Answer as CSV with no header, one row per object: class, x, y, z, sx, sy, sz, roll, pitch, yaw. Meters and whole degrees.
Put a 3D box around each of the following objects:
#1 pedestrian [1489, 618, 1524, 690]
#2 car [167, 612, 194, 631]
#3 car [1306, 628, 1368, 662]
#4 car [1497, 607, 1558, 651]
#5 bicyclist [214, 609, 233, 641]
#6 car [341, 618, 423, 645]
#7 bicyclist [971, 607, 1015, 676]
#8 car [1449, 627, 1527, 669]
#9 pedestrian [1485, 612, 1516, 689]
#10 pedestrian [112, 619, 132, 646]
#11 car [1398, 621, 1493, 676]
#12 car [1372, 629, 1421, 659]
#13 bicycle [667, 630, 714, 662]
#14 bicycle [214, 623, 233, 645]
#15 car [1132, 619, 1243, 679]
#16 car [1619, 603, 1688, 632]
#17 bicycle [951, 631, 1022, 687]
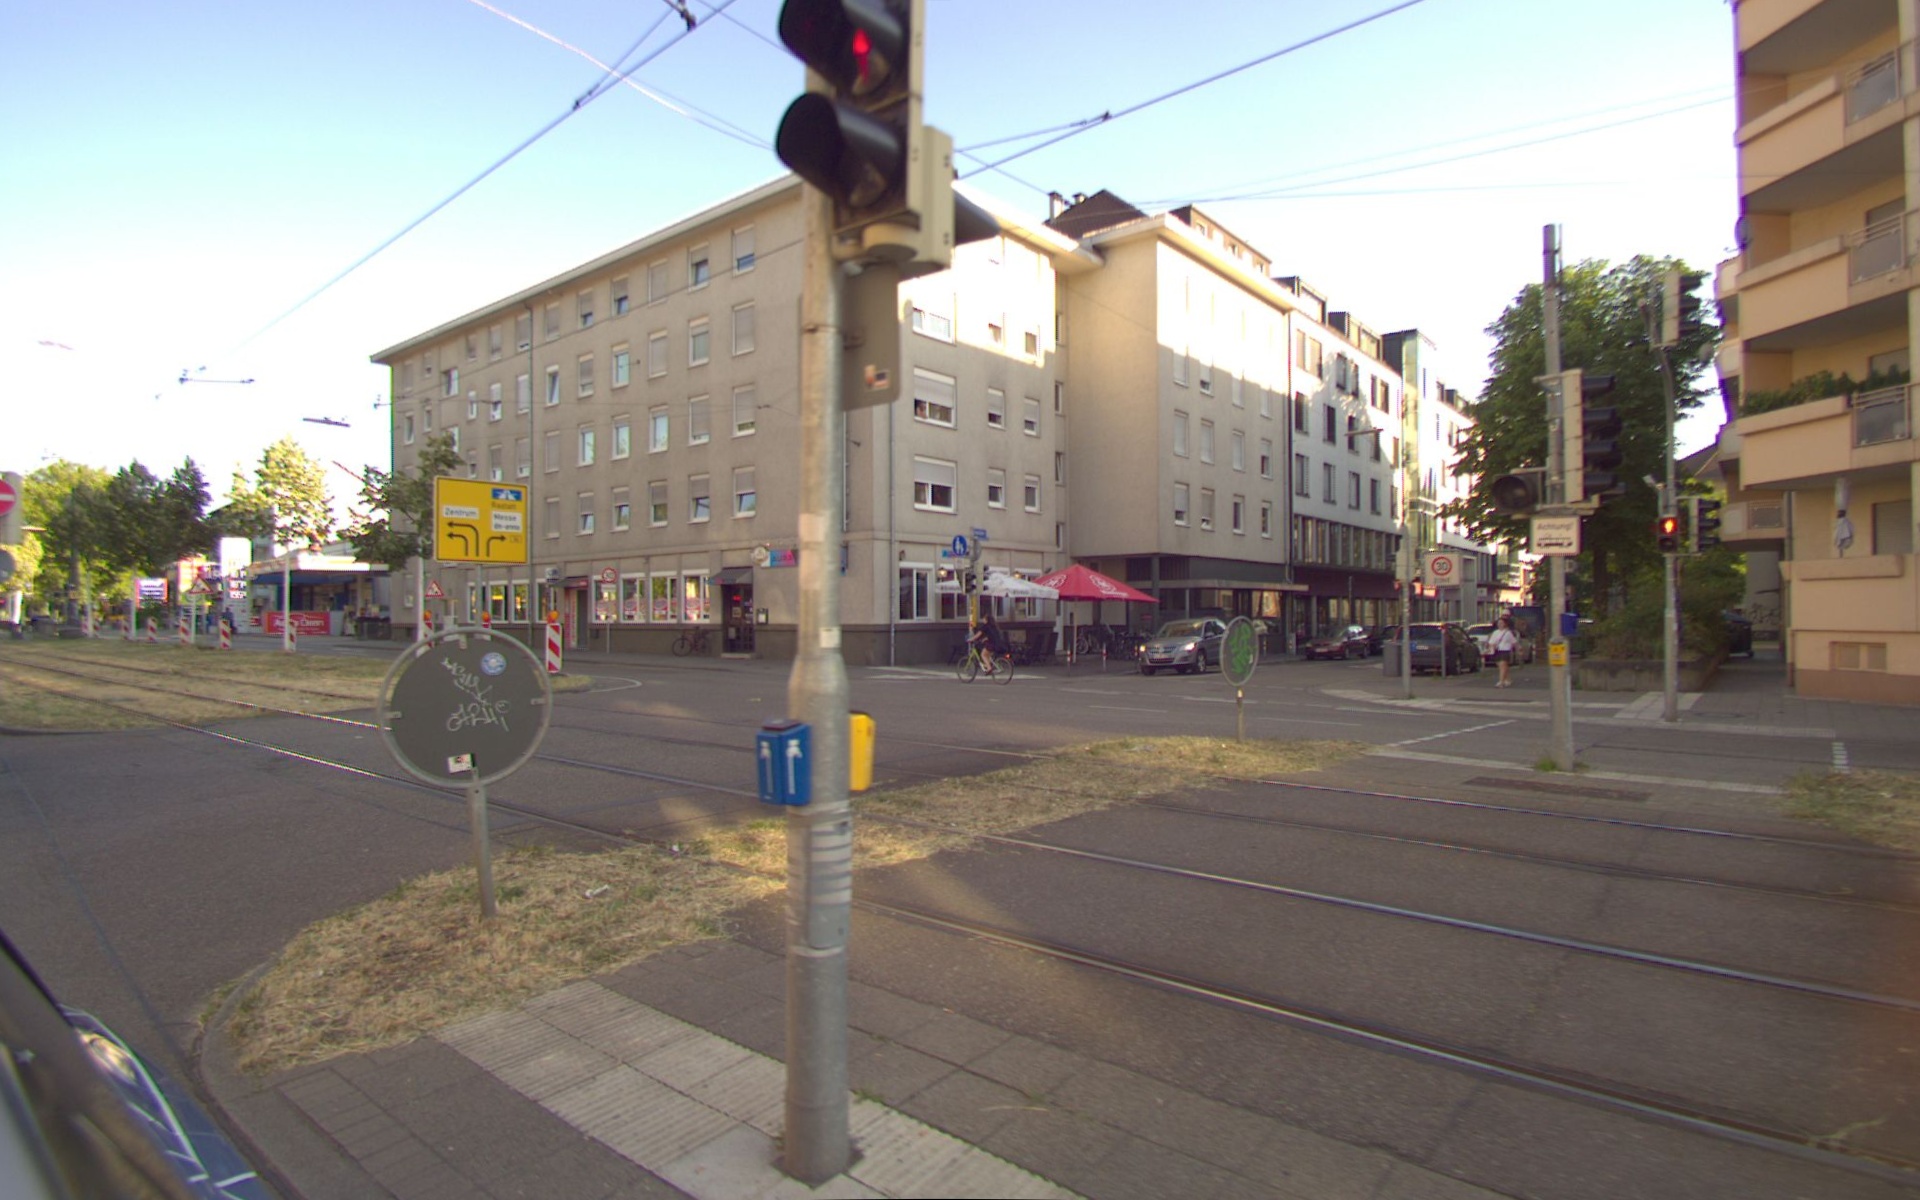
pedestrian,12.171,1.183,22.547,0.542,1.564,0.516,-1,-1,-44
car,-72.574,1.970,94.182,1.756,1.567,4.006,-1,1,-41
car,15.941,1.886,42.727,1.503,1.321,3.092,0,-1,40
car,27.760,1.367,49.461,1.998,2.029,3.948,0,0,39
bicyclist,-42.958,1.462,59.013,0.808,1.897,0.645,-1,-2,38
car,-33.028,1.786,57.898,1.906,1.480,3.681,-3,-3,39
bicyclist,0.773,0.963,23.856,0.809,1.598,0.619,-2,-1,44
car,18.186,1.606,34.786,1.771,1.273,3.265,0,0,39
pedestrian,12.460,1.149,23.341,0.583,1.718,0.463,-1,1,-44
pedestrian,-40.395,1.547,48.779,0.581,1.280,0.655,-2,-1,41
car,13.833,1.340,28.738,1.993,1.453,3.956,-2,-2,32
car,21.331,2.121,49.398,1.430,1.286,3.313,0,1,38
bicycle,-9.246,1.559,34.678,1.843,1.031,0.601,0,0,41
bicycle,-42.965,1.994,59.005,1.868,1.267,0.450,-2,-2,39
car,6.826,1.383,30.058,1.993,1.636,4.152,-1,-2,32
car,45.348,1.130,66.203,3.488,1.809,1.678,0,1,44
bicycle,0.610,1.382,23.996,0.450,1.267,1.871,0,-2,-45
